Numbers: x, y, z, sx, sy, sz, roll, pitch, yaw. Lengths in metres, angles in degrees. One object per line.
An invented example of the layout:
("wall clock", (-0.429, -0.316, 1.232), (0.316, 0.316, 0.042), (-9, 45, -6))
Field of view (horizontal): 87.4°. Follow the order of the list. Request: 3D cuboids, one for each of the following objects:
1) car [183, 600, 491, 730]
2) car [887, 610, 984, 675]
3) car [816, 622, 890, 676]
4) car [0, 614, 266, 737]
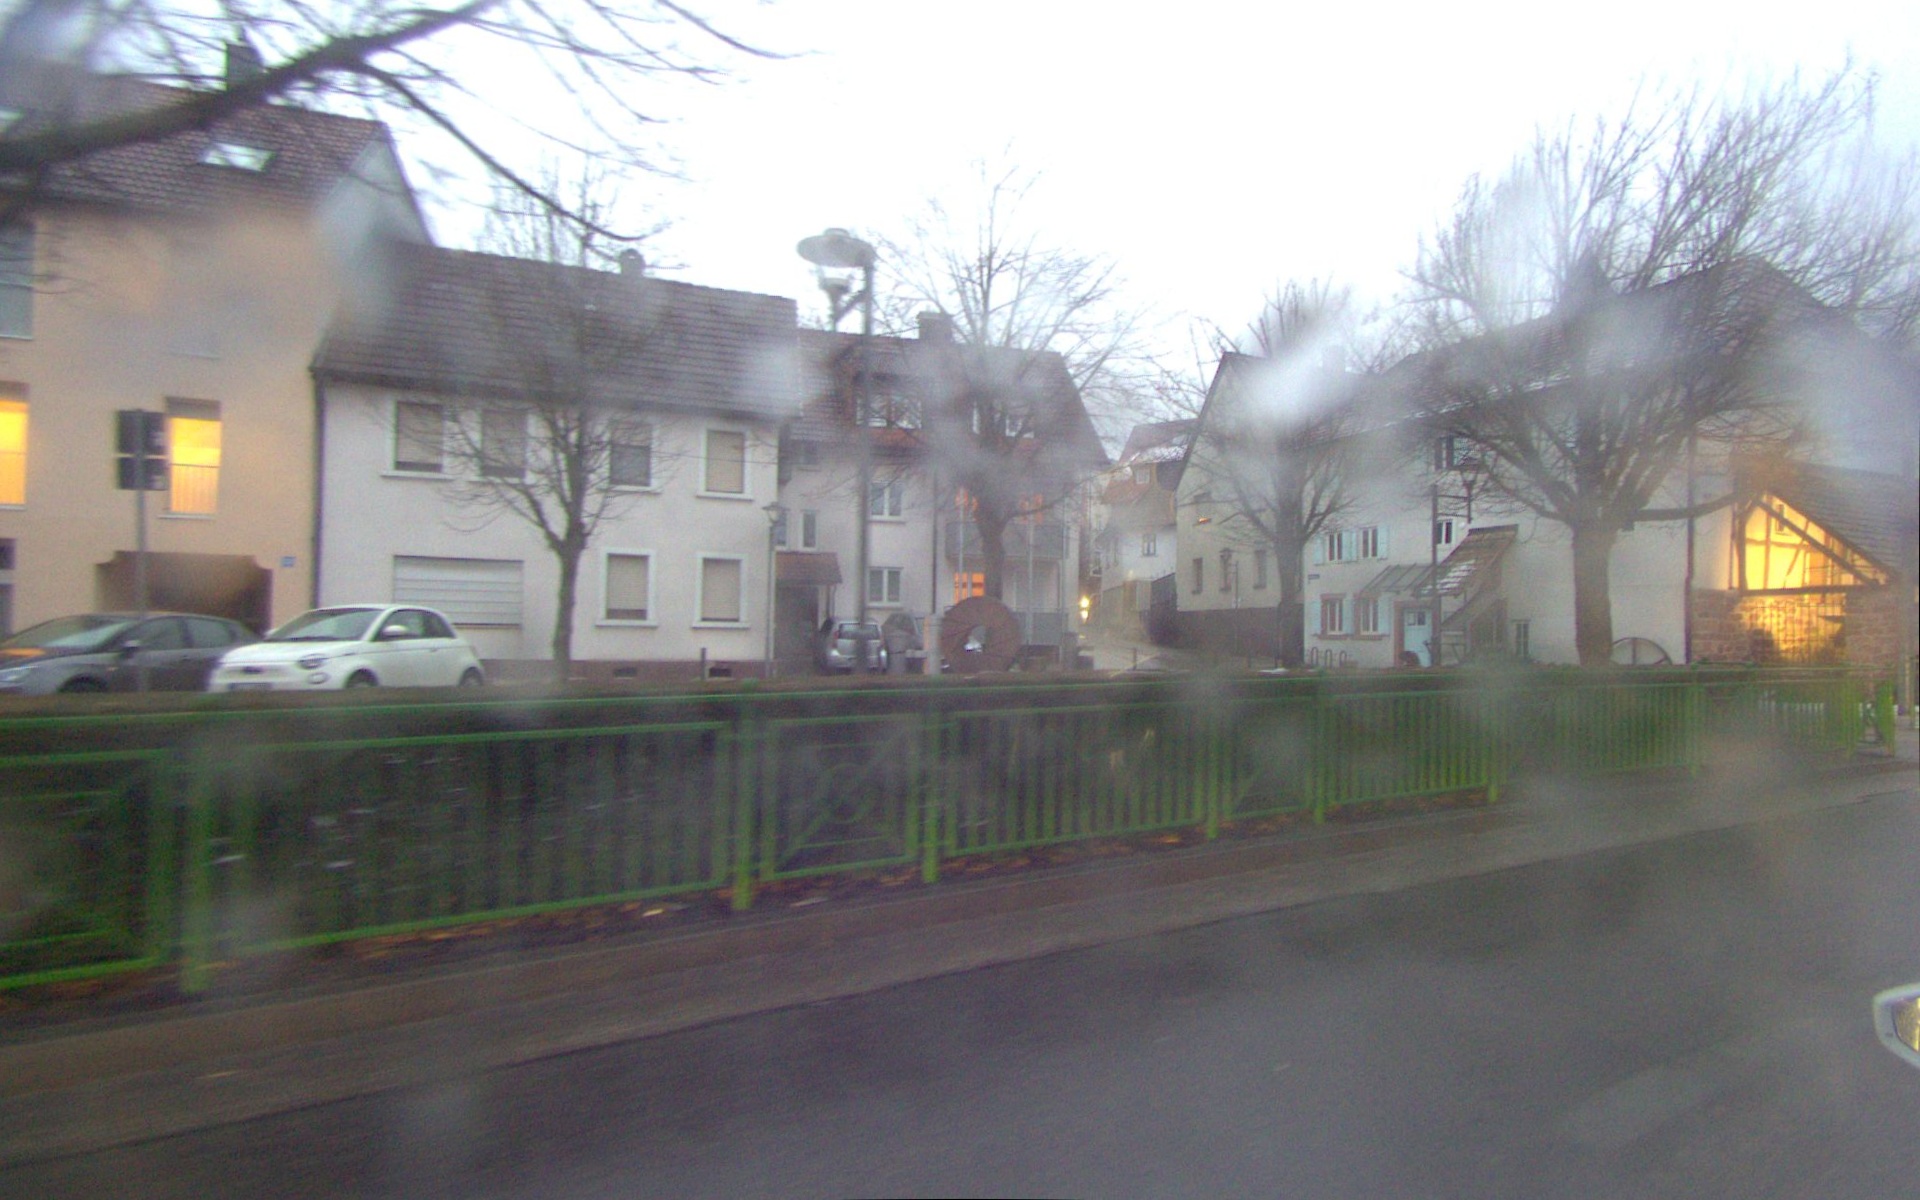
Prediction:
("car", (-7.827, 0.738, 13.021), (1.578, 1.428, 3.487), (1, 0, 6))
("car", (-0.766, 1.145, 28.387), (1.687, 1.634, 3.593), (1, 1, -20))
("car", (-2.985, 1.309, 27.542), (1.504, 1.142, 3.043), (1, 3, -17))
("car", (-10.221, 0.808, 12.022), (1.578, 1.236, 3.057), (1, 0, 4))
